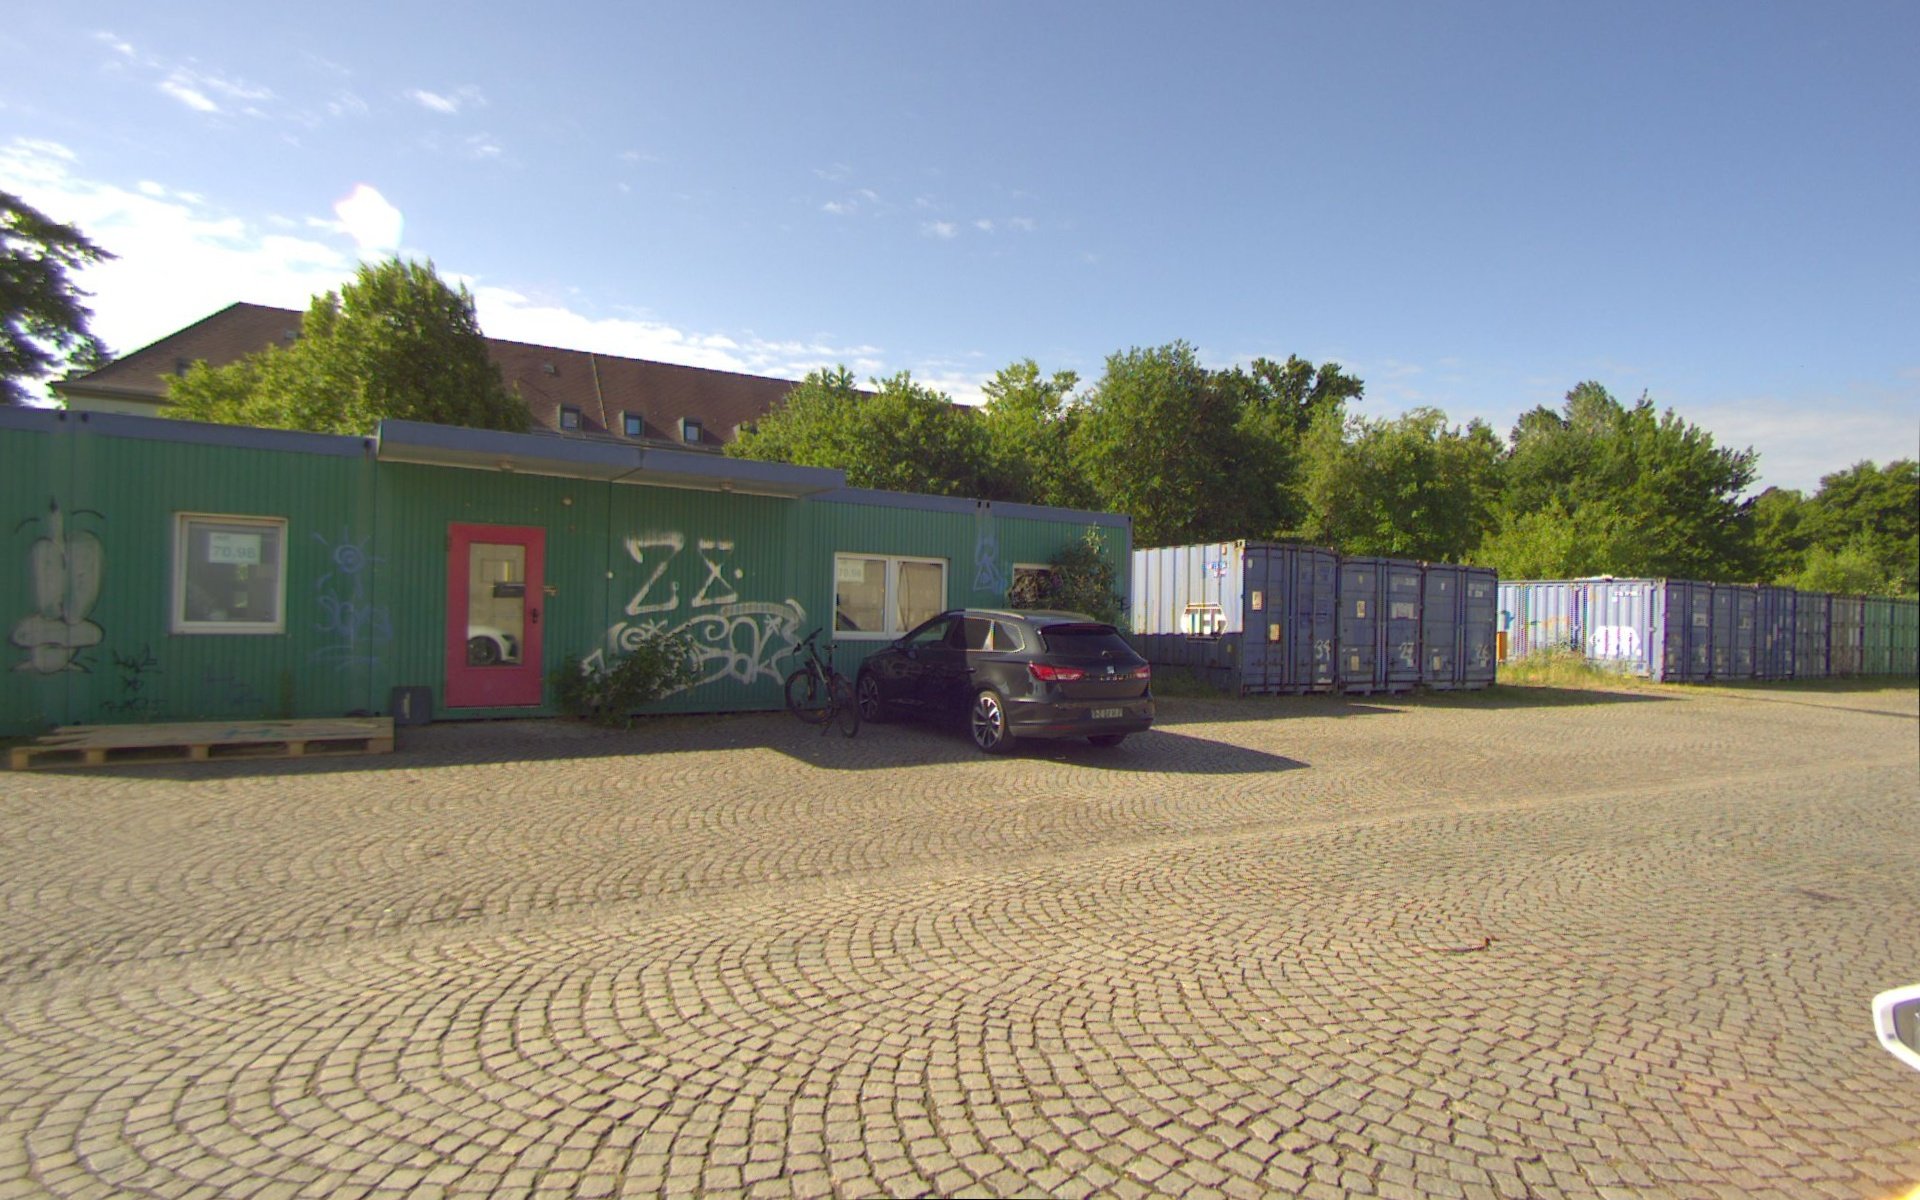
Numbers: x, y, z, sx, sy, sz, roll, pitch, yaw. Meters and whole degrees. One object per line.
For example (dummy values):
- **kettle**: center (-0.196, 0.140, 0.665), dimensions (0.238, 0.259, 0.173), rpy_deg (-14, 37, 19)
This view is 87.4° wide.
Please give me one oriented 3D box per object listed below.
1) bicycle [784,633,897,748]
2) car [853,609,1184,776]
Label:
- **bicycle**: center (-1.397, 0.980, 11.466), dimensions (0.665, 1.116, 1.700), rpy_deg (1, 1, -29)
- **car**: center (0.460, 0.894, 11.378), dimensions (1.713, 1.432, 4.027), rpy_deg (2, 0, -32)
